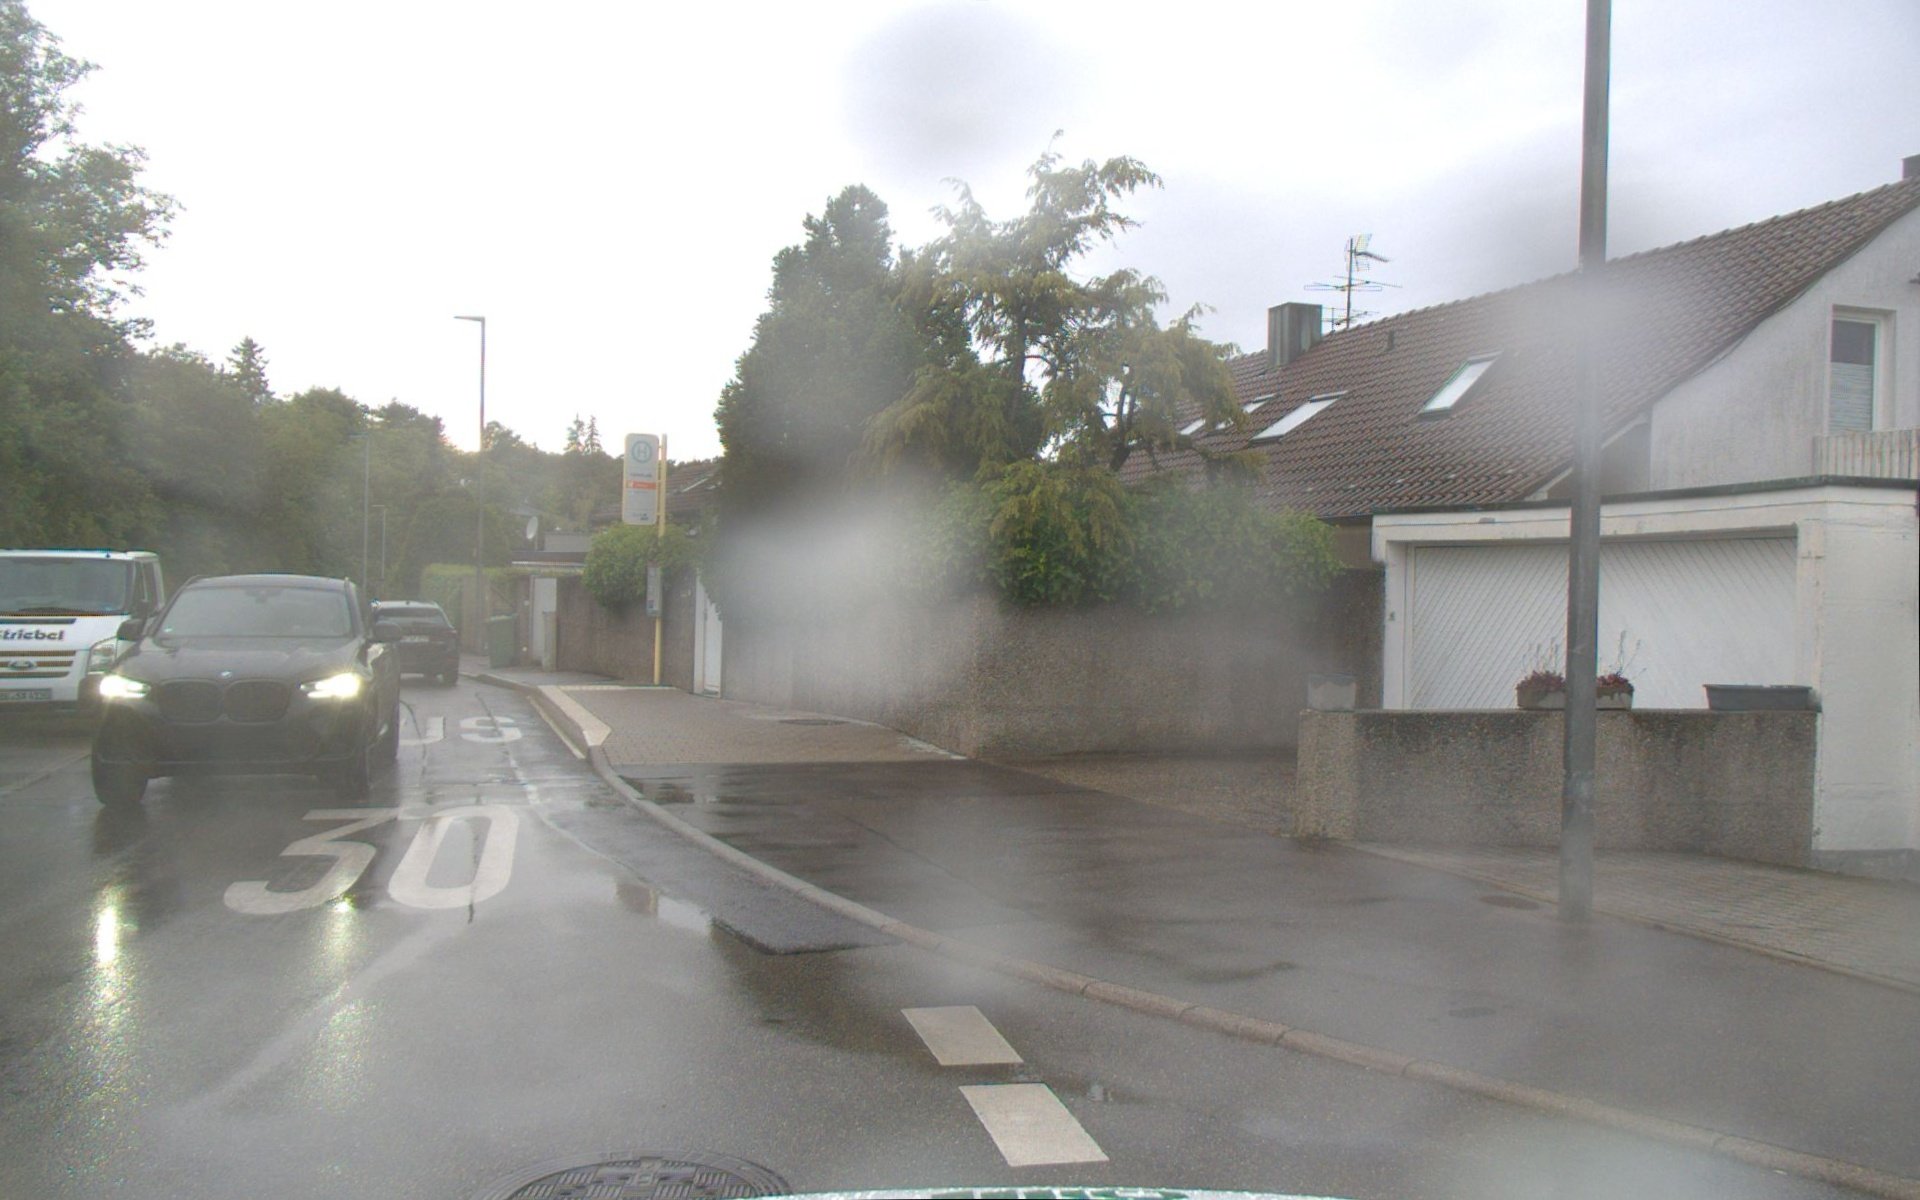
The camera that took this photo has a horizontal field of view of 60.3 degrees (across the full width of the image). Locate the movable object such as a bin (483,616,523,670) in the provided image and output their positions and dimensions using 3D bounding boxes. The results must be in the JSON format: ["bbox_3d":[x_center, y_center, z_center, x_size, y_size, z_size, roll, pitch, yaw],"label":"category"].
[{"bbox_3d":[-9.774,0.915,35.376,0.729,1.107,0.596,-2,1,-23],"label":"movable object such as a bin"}]

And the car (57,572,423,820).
[{"bbox_3d":[-5.513,0.635,13.265,1.896,1.633,4.329,0,0,-13],"label":"car"}]

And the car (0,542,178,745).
[{"bbox_3d":[-10.220,0.420,18.803,2.082,2.009,5.138,0,0,-22],"label":"car"}]

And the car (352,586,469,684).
[{"bbox_3d":[-9.899,0.699,29.950,1.839,1.539,4.071,2,-5,-17],"label":"car"}]
